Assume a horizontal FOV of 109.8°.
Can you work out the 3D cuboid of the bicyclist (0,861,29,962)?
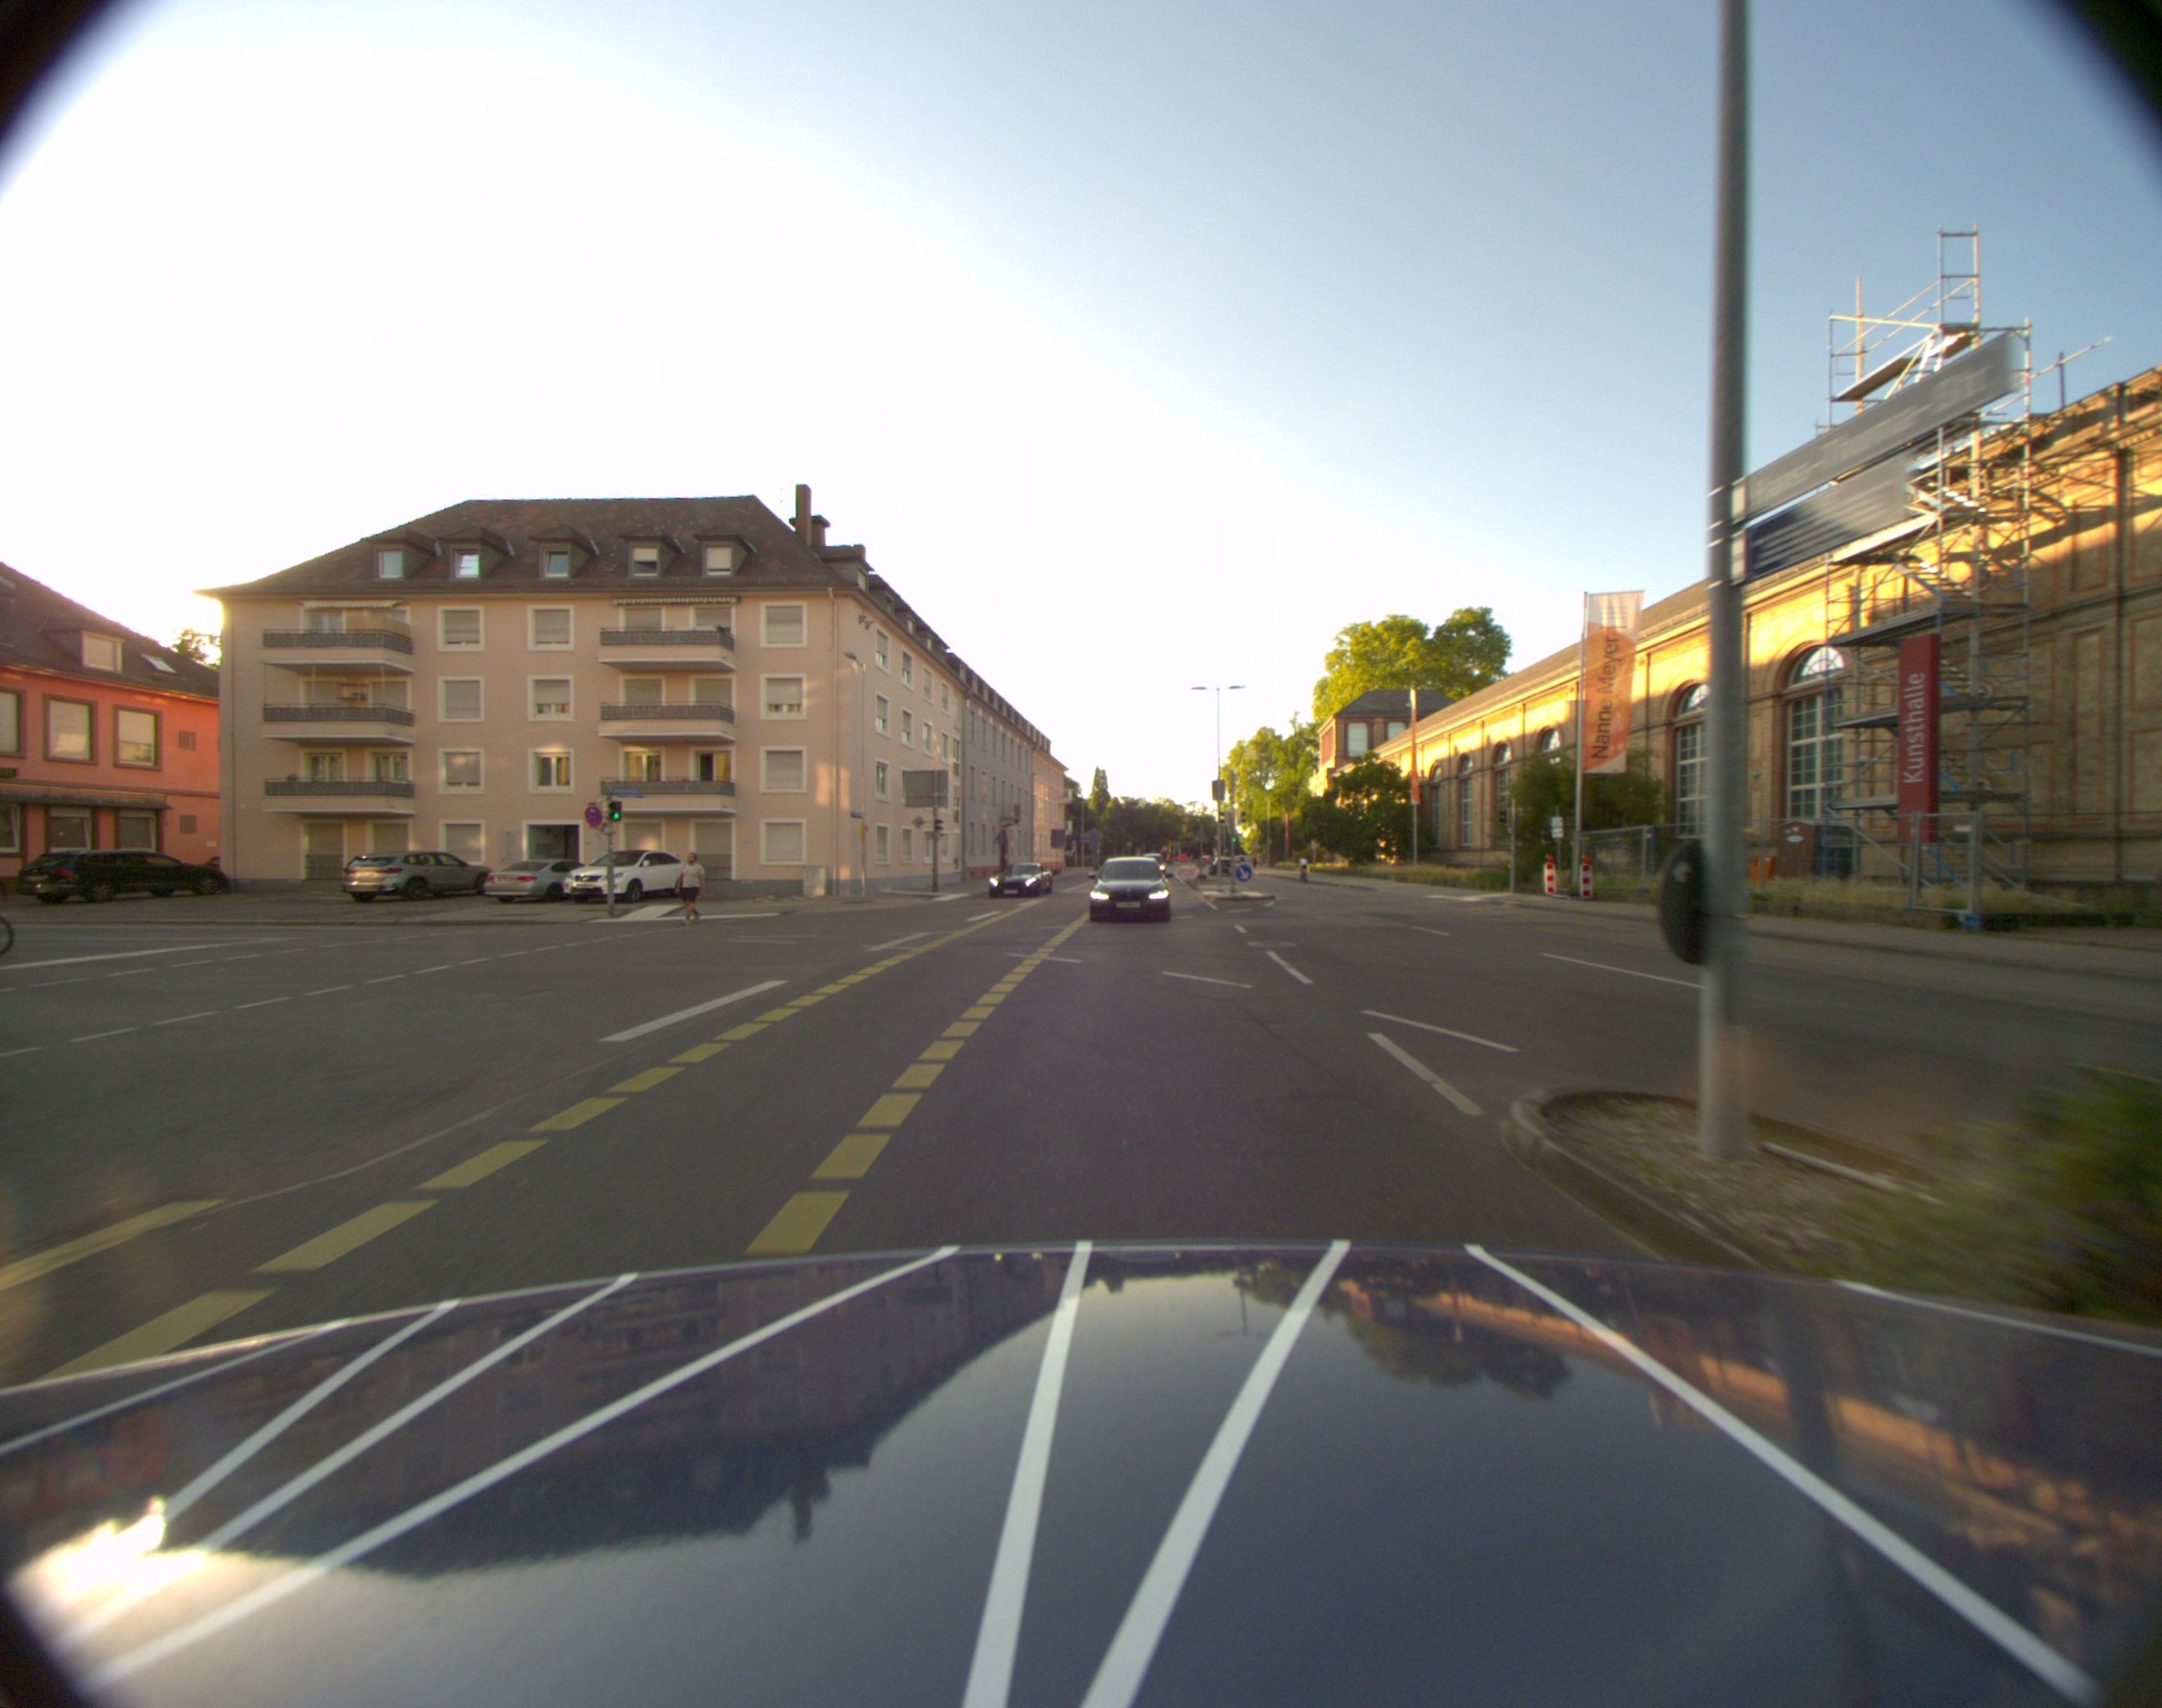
[{"bbox_3d":[-17.844,0.923,12.008,1.045,1.623,0.969,0,1,0],"label":"bicyclist"}]

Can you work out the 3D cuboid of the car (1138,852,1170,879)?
[{"bbox_3d":[4.820,0.718,50.468,1.838,1.674,4.223,-2,1,2],"label":"car"}]

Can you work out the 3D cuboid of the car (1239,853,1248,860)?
[{"bbox_3d":[38.127,0.498,178.294,1.919,1.674,4.004,0,0,13],"label":"car"}]

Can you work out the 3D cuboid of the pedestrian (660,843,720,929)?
[{"bbox_3d":[-9.374,0.749,18.231,0.785,2.002,0.996,0,1,21],"label":"pedestrian"}]

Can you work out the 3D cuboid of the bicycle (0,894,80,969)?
[{"bbox_3d":[-17.797,1.206,12.019,2.582,1.098,0.977,0,1,-1],"label":"bicycle"}]

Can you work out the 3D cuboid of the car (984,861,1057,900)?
[{"bbox_3d":[-2.299,0.993,30.109,2.183,1.293,4.359,-2,0,4],"label":"car"}]

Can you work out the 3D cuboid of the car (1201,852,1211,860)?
[{"bbox_3d":[24.462,0.414,148.337,1.774,1.455,4.003,2,0,11],"label":"car"}]

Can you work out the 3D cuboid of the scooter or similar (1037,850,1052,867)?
[{"bbox_3d":[-3.187,0.401,65.793,0.726,1.450,1.674,3,1,16],"label":"scooter or similar"}]

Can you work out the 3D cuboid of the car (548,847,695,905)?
[{"bbox_3d":[-14.959,0.651,25.099,1.998,1.739,4.476,0,0,2],"label":"car"}]

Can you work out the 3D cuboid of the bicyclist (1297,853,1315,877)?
[{"bbox_3d":[13.561,0.656,45.873,0.749,1.452,0.937,1,1,0],"label":"bicyclist"}]

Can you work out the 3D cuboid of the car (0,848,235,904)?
[{"bbox_3d":[-31.978,0.652,25.461,2.010,1.587,4.520,0,2,2],"label":"car"}]

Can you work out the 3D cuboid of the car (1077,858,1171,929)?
[{"bbox_3d":[1.129,0.846,18.221,1.963,1.378,4.783,0,1,6],"label":"car"}]

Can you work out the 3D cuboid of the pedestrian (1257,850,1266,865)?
[{"bbox_3d":[20.843,0.402,87.597,0.806,1.728,0.851,0,1,31],"label":"pedestrian"}]

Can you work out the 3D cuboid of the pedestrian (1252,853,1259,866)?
[{"bbox_3d":[20.110,0.630,87.576,0.675,1.504,0.836,-4,-1,12],"label":"pedestrian"}]

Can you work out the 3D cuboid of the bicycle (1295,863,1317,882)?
[{"bbox_3d":[13.557,1.121,45.840,0.755,1.084,1.932,2,0,-1],"label":"bicycle"}]

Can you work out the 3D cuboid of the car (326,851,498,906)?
[{"bbox_3d":[-22.018,0.749,25.266,2.010,1.538,4.055,0,2,2],"label":"car"}]

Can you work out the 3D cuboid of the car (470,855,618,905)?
[{"bbox_3d":[-17.589,0.807,25.152,1.924,1.504,4.029,0,0,2],"label":"car"}]

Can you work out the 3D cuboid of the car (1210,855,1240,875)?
[{"bbox_3d":[11.410,0.835,60.489,1.827,1.499,4.428,0,0,4],"label":"car"}]
